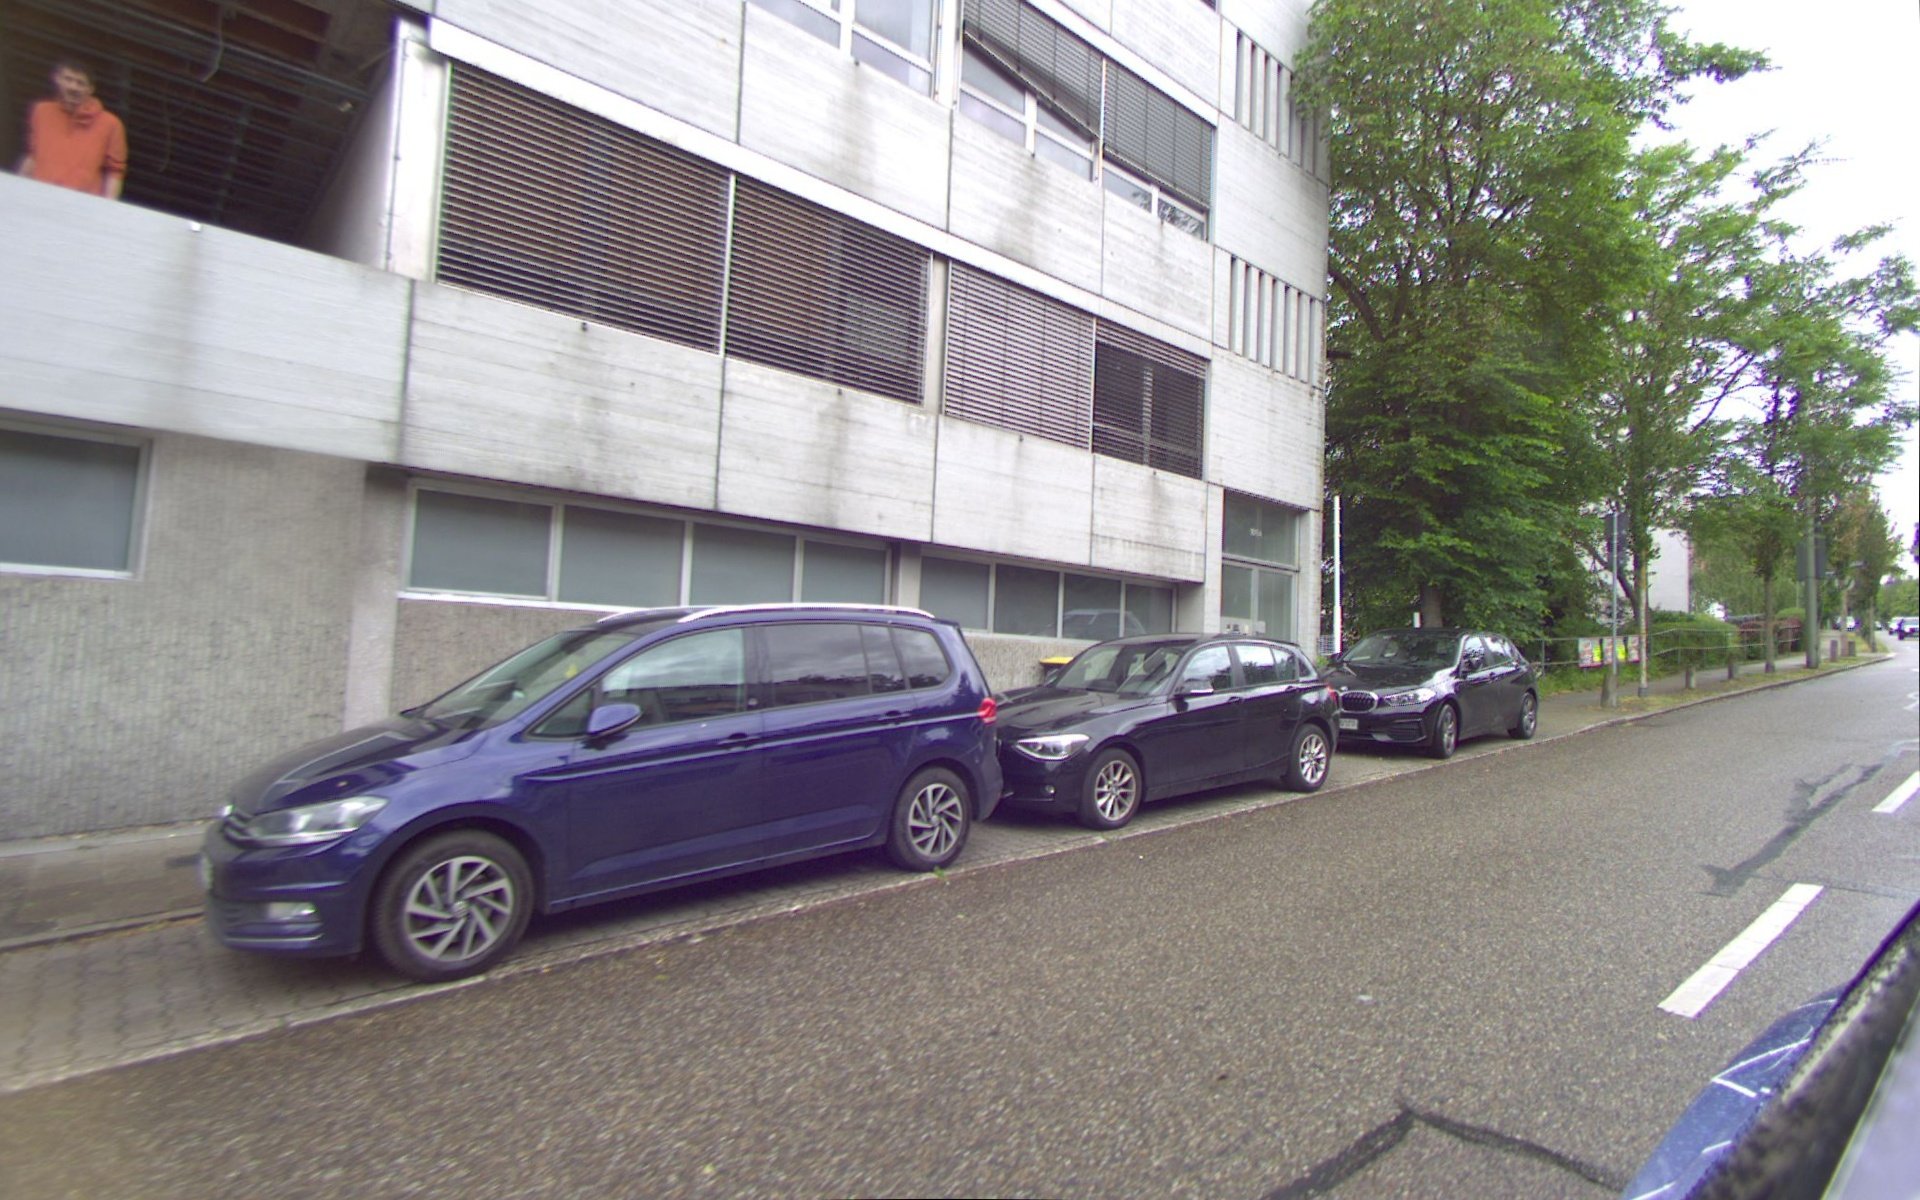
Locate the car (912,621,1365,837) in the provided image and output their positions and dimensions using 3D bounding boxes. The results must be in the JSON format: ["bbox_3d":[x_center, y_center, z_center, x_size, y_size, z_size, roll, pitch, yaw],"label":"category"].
[{"bbox_3d":[1.703,0.947,8.982,4.022,1.463,1.710,0,-2,-38],"label":"car"}]

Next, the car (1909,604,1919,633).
[{"bbox_3d":[71.739,1.341,74.863,1.991,2.039,3.942,-2,-1,40],"label":"car"}]

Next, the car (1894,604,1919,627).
[{"bbox_3d":[87.559,1.420,93.286,1.992,2.039,3.939,-2,-1,42],"label":"car"}]

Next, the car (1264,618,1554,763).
[{"bbox_3d":[5.724,0.979,12.676,4.084,1.462,1.841,0,0,-42],"label":"car"}]

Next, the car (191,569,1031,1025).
[{"bbox_3d":[-1.707,0.763,5.871,4.269,1.696,1.747,0,-2,-42],"label":"car"}]
